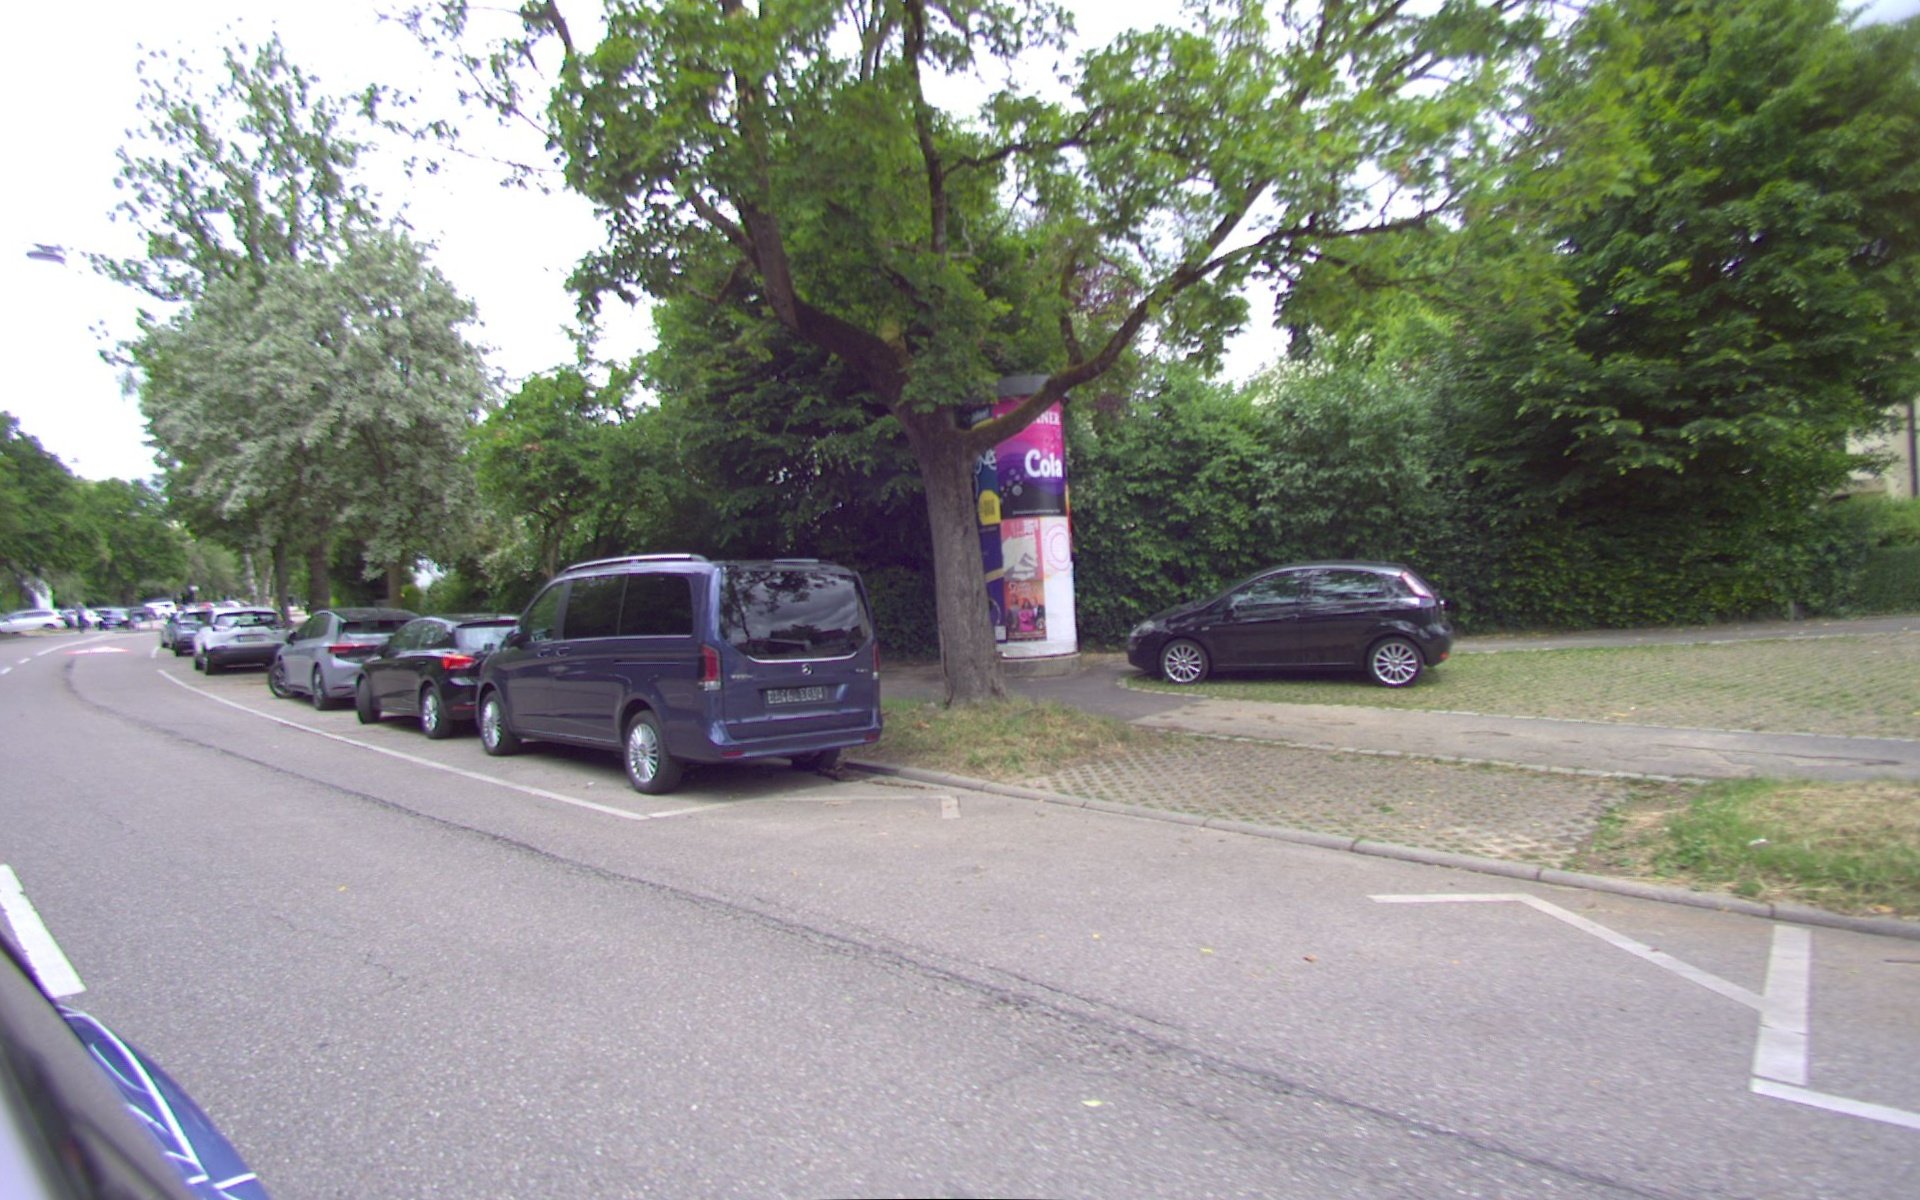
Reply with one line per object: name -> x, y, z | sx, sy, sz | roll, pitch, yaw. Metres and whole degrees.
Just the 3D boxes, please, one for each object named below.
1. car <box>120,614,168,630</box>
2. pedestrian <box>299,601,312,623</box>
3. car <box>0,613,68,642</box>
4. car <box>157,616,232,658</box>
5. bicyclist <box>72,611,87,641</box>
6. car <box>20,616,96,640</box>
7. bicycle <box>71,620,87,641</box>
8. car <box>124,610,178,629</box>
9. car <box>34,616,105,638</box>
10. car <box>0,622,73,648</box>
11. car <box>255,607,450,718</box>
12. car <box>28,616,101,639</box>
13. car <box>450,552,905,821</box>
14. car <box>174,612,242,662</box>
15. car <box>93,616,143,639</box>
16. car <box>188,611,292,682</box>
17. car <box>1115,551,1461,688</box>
car -> -86.685, 2.326, 107.522 | 3.800, 1.449, 1.717 | -5, 3, -43
pedestrian -> -50.611, 0.927, 78.246 | 0.683, 1.723, 0.780 | -3, 1, -38
car -> -61.792, 1.839, 66.659 | 4.415, 1.597, 1.909 | -5, 3, -42
car -> -28.953, 1.353, 38.231 | 1.715, 1.427, 4.475 | -1, 0, -44
bicyclist -> -53.629, 1.583, 61.628 | 0.637, 1.792, 0.629 | -2, 1, -40
car -> -68.874, 2.119, 77.323 | 1.862, 1.475, 3.952 | -2, 2, 36
bicycle -> -53.700, 1.857, 61.718 | 0.638, 1.246, 1.880 | -3, 1, -39
car -> -88.194, 2.080, 110.331 | 1.856, 1.771, 4.171 | -2, 2, 36
car -> -73.341, 2.180, 83.368 | 1.842, 1.475, 3.964 | -2, 2, 28
car -> -62.526, 2.352, 68.051 | 1.798, 1.475, 4.090 | -1, 3, 42
car -> -10.215, 0.939, 16.874 | 1.844, 1.549, 4.230 | -2, 1, -44
car -> -70.279, 2.178, 79.495 | 1.792, 1.475, 3.952 | -2, 2, 36
car -> -2.948, 0.632, 9.673 | 5.084, 1.923, 1.837 | -1, 1, 44
car -> -25.589, 1.209, 34.391 | 1.713, 1.549, 4.197 | -1, 0, -38
car -> -58.512, 1.890, 70.408 | 1.830, 1.384, 4.089 | -3, 1, -28
car -> -18.085, 1.098, 25.351 | 1.714, 1.590, 4.147 | -1, 0, -41
car -> 4.199, 0.233, 13.073 | 3.967, 1.488, 1.765 | -2, 4, 25
